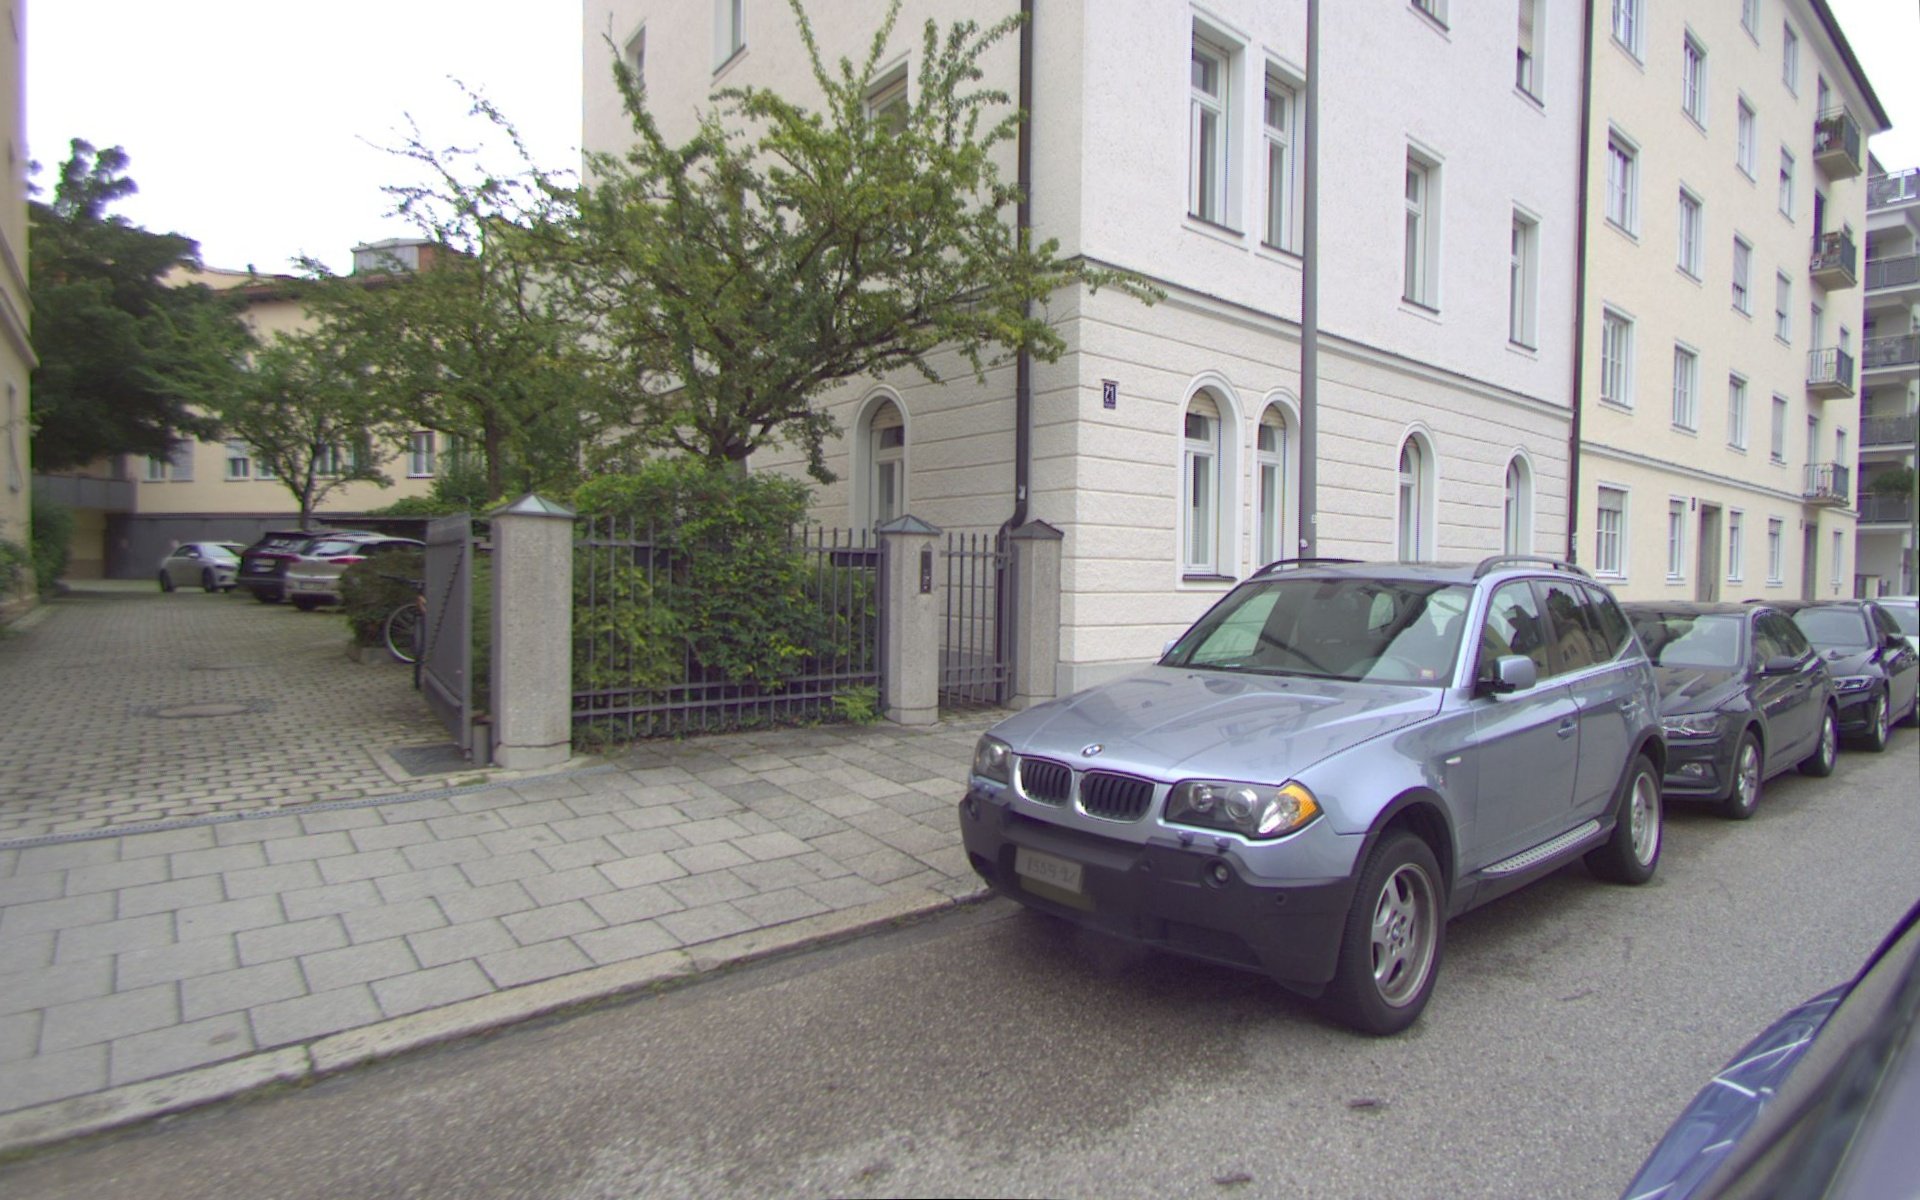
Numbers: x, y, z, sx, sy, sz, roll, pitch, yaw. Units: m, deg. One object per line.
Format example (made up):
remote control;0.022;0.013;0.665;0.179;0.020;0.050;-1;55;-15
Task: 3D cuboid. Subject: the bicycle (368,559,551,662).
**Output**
bicycle;-5.842;0.101;11.873;1.894;1.153;0.358;-1;0;-30

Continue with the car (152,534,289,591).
car;-20.917;-1.012;28.602;3.820;1.482;1.763;0;1;31

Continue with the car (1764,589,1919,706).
car;13.522;0.585;14.901;4.573;1.452;1.840;-1;1;-41

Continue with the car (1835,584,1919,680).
car;17.308;0.502;18.184;4.194;1.566;1.840;-1;1;-41

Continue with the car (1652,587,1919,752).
car;9.360;0.596;11.167;4.451;1.432;1.800;-1;1;-41

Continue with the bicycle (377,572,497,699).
bicycle;-4.926;0.294;9.493;1.542;1.057;0.424;3;3;40

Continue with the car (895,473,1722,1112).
car;1.954;0.490;4.851;4.312;1.752;1.781;-1;1;-40

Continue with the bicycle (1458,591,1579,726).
bicycle;5.486;0.535;9.915;1.446;1.192;0.481;-1;4;-40

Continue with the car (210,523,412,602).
car;-14.060;-0.773;22.176;1.649;1.564;3.672;0;1;12

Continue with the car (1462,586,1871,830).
car;5.798;0.637;8.124;3.984;1.460;1.707;-1;1;-40

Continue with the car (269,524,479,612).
car;-11.690;-0.625;20.463;1.649;1.563;3.672;2;1;11

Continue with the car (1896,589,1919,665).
car;20.872;0.528;20.900;3.953;1.477;1.840;-1;1;-41
